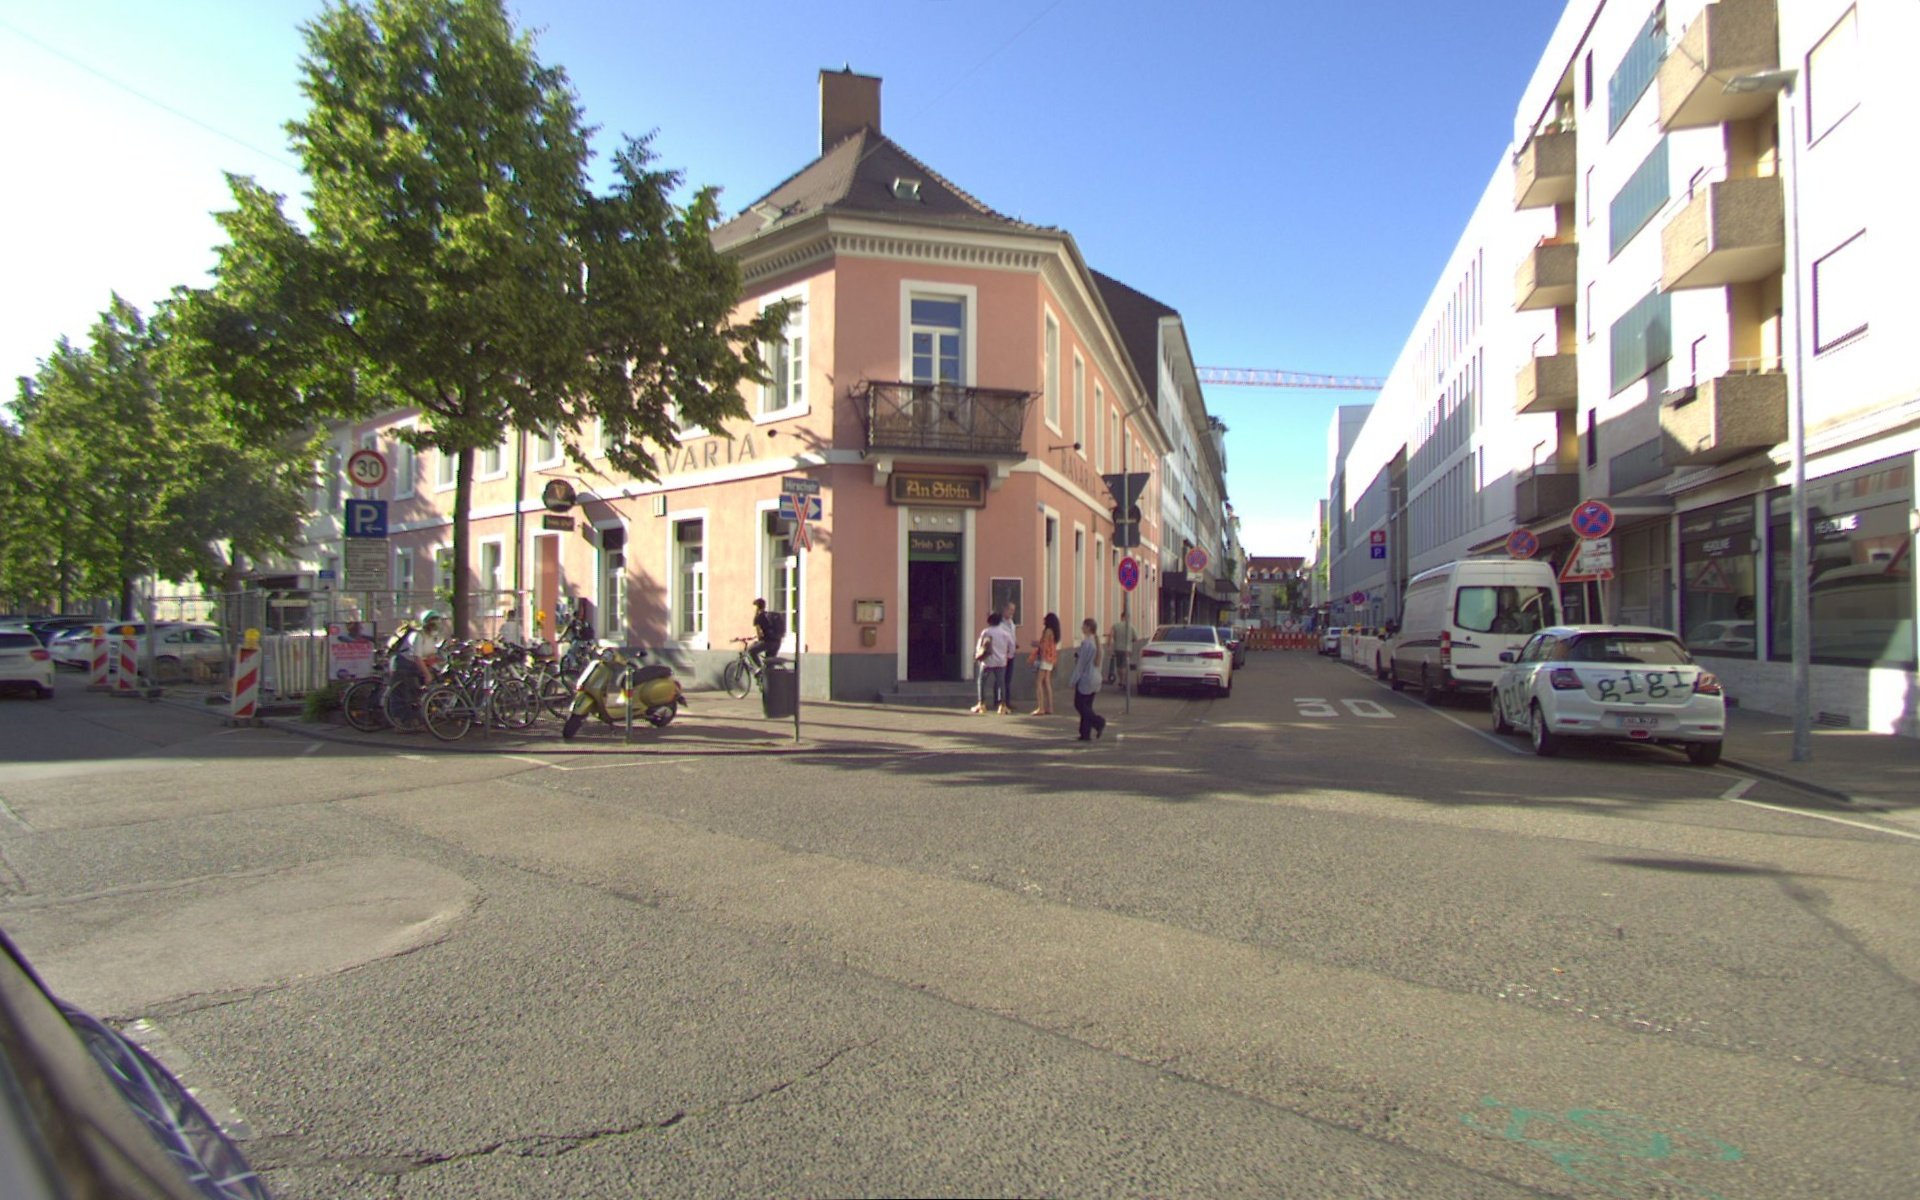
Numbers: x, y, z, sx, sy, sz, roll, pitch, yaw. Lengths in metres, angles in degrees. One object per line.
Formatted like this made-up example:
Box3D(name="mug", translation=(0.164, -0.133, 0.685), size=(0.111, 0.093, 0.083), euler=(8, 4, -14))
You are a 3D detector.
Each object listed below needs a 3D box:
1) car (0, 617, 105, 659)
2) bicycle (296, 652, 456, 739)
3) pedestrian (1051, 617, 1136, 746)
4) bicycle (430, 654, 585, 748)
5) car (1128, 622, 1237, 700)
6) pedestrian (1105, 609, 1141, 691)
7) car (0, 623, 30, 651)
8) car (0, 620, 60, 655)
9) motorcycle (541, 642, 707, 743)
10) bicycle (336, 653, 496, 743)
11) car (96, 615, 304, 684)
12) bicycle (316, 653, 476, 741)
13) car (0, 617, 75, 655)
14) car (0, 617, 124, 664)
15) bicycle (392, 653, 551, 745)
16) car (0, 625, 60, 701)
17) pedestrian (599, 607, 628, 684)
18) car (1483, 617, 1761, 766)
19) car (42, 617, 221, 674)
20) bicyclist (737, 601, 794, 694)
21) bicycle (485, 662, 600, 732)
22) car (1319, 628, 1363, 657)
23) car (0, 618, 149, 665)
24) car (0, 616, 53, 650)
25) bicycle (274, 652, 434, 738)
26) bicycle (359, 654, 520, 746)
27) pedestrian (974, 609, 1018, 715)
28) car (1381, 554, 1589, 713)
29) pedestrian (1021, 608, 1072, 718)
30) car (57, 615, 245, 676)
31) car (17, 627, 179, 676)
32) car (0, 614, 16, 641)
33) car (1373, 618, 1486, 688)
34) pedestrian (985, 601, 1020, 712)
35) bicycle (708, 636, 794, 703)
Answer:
Box3D(name="car", translation=(-41.877, 1.703, 46.173), size=(1.910, 1.816, 4.082), euler=(-1, -2, 40))
Box3D(name="bicycle", translation=(-8.066, 1.286, 14.089), size=(0.471, 1.037, 1.987), euler=(-1, -1, 28))
Box3D(name="pedestrian", translation=(1.736, 1.034, 13.171), size=(0.862, 1.614, 0.641), euler=(-3, -2, 41))
Box3D(name="bicycle", translation=(-5.826, 1.262, 13.159), size=(0.471, 1.037, 1.987), euler=(-1, -1, 28))
Box3D(name="car", translation=(4.767, 1.249, 21.326), size=(1.983, 1.488, 3.583), euler=(-1, -2, 17))
Box3D(name="pedestrian", translation=(3.592, 1.099, 22.274), size=(0.701, 1.764, 0.631), euler=(-1, -2, 18))
Box3D(name="car", translation=(-62.180, 2.373, 64.509), size=(1.910, 1.816, 4.082), euler=(-1, -2, 40))
Box3D(name="car", translation=(-49.710, 1.950, 52.623), size=(1.910, 1.816, 4.082), euler=(-1, -2, 40))
Box3D(name="motorcycle", translation=(-4.405, 1.175, 13.392), size=(0.740, 1.194, 1.977), euler=(-2, -2, 43))
Box3D(name="bicycle", translation=(-7.291, 1.278, 13.672), size=(0.471, 1.037, 1.987), euler=(-1, -1, 28))
Box3D(name="car", translation=(-20.120, 1.257, 26.924), size=(1.998, 1.693, 4.082), euler=(-1, -2, 40))
Box3D(name="bicycle", translation=(-7.672, 1.285, 13.876), size=(0.471, 1.037, 1.987), euler=(-1, -1, 28))
Box3D(name="car", translation=(-46.283, 1.738, 49.641), size=(1.910, 1.816, 4.082), euler=(-1, -2, 40))
Box3D(name="car", translation=(-36.433, 1.596, 40.652), size=(1.910, 1.816, 4.082), euler=(-1, -2, 40))
Box3D(name="bicycle", translation=(-6.359, 1.256, 13.294), size=(0.471, 1.037, 1.987), euler=(-1, -1, 28))
Box3D(name="car", translation=(-19.619, 1.240, 20.325), size=(3.831, 1.429, 1.811), euler=(-2, -3, 41))
Box3D(name="pedestrian", translation=(-7.964, 1.038, 23.248), size=(0.509, 1.740, 0.526), euler=(1, -3, -32))
Box3D(name="car", translation=(7.689, 0.995, 12.186), size=(1.889, 1.488, 3.580), euler=(-1, -2, 18))
Box3D(name="car", translation=(-26.098, 1.389, 31.985), size=(1.998, 1.693, 4.082), euler=(-1, -2, 40))
Box3D(name="bicyclist", translation=(-3.289, 0.788, 17.141), size=(0.751, 1.515, 0.563), euler=(1, -1, 41))
Box3D(name="bicycle", translation=(-6.051, 1.400, 14.712), size=(1.493, 0.958, 0.360), euler=(-1, -1, -8))
Box3D(name="car", translation=(18.787, 2.093, 50.012), size=(1.765, 1.406, 3.493), euler=(-1, -2, 17))
Box3D(name="car", translation=(-32.517, 1.486, 37.097), size=(1.910, 1.606, 4.082), euler=(-1, -2, 40))
Box3D(name="car", translation=(-52.481, 1.802, 55.304), size=(1.910, 1.816, 4.082), euler=(-1, -2, 40))
Box3D(name="bicycle", translation=(-8.530, 1.303, 14.343), size=(0.471, 1.037, 1.987), euler=(-1, -1, 28))
Box3D(name="bicycle", translation=(-6.855, 1.279, 13.442), size=(0.471, 1.037, 1.987), euler=(-1, -1, 28))
Box3D(name="pedestrian", translation=(0.581, 0.999, 16.340), size=(0.698, 1.675, 0.579), euler=(0, -2, 4))
Box3D(name="car", translation=(10.036, 0.682, 20.029), size=(2.204, 2.601, 6.475), euler=(-1, -2, 15))
Box3D(name="pedestrian", translation=(1.402, 1.006, 16.395), size=(0.579, 1.740, 0.622), euler=(-2, -3, 38))
Box3D(name="car", translation=(-24.235, 1.324, 30.419), size=(1.998, 1.693, 4.082), euler=(-1, -2, 40))
Box3D(name="car", translation=(-30.198, 1.752, 35.552), size=(1.910, 1.606, 4.082), euler=(-1, -2, 40))
Box3D(name="car", translation=(-64.740, 1.814, 66.284), size=(1.910, 1.816, 4.082), euler=(-1, -2, 40))
Box3D(name="car", translation=(12.041, 1.341, 26.224), size=(1.886, 1.656, 3.770), euler=(-1, -2, 13))
Box3D(name="pedestrian", translation=(0.709, 0.934, 16.996), size=(0.572, 1.826, 0.630), euler=(0, -2, 2))
Box3D(name="bicycle", translation=(-3.603, 1.188, 17.409), size=(1.650, 1.096, 0.563), euler=(-3, -4, 41))
